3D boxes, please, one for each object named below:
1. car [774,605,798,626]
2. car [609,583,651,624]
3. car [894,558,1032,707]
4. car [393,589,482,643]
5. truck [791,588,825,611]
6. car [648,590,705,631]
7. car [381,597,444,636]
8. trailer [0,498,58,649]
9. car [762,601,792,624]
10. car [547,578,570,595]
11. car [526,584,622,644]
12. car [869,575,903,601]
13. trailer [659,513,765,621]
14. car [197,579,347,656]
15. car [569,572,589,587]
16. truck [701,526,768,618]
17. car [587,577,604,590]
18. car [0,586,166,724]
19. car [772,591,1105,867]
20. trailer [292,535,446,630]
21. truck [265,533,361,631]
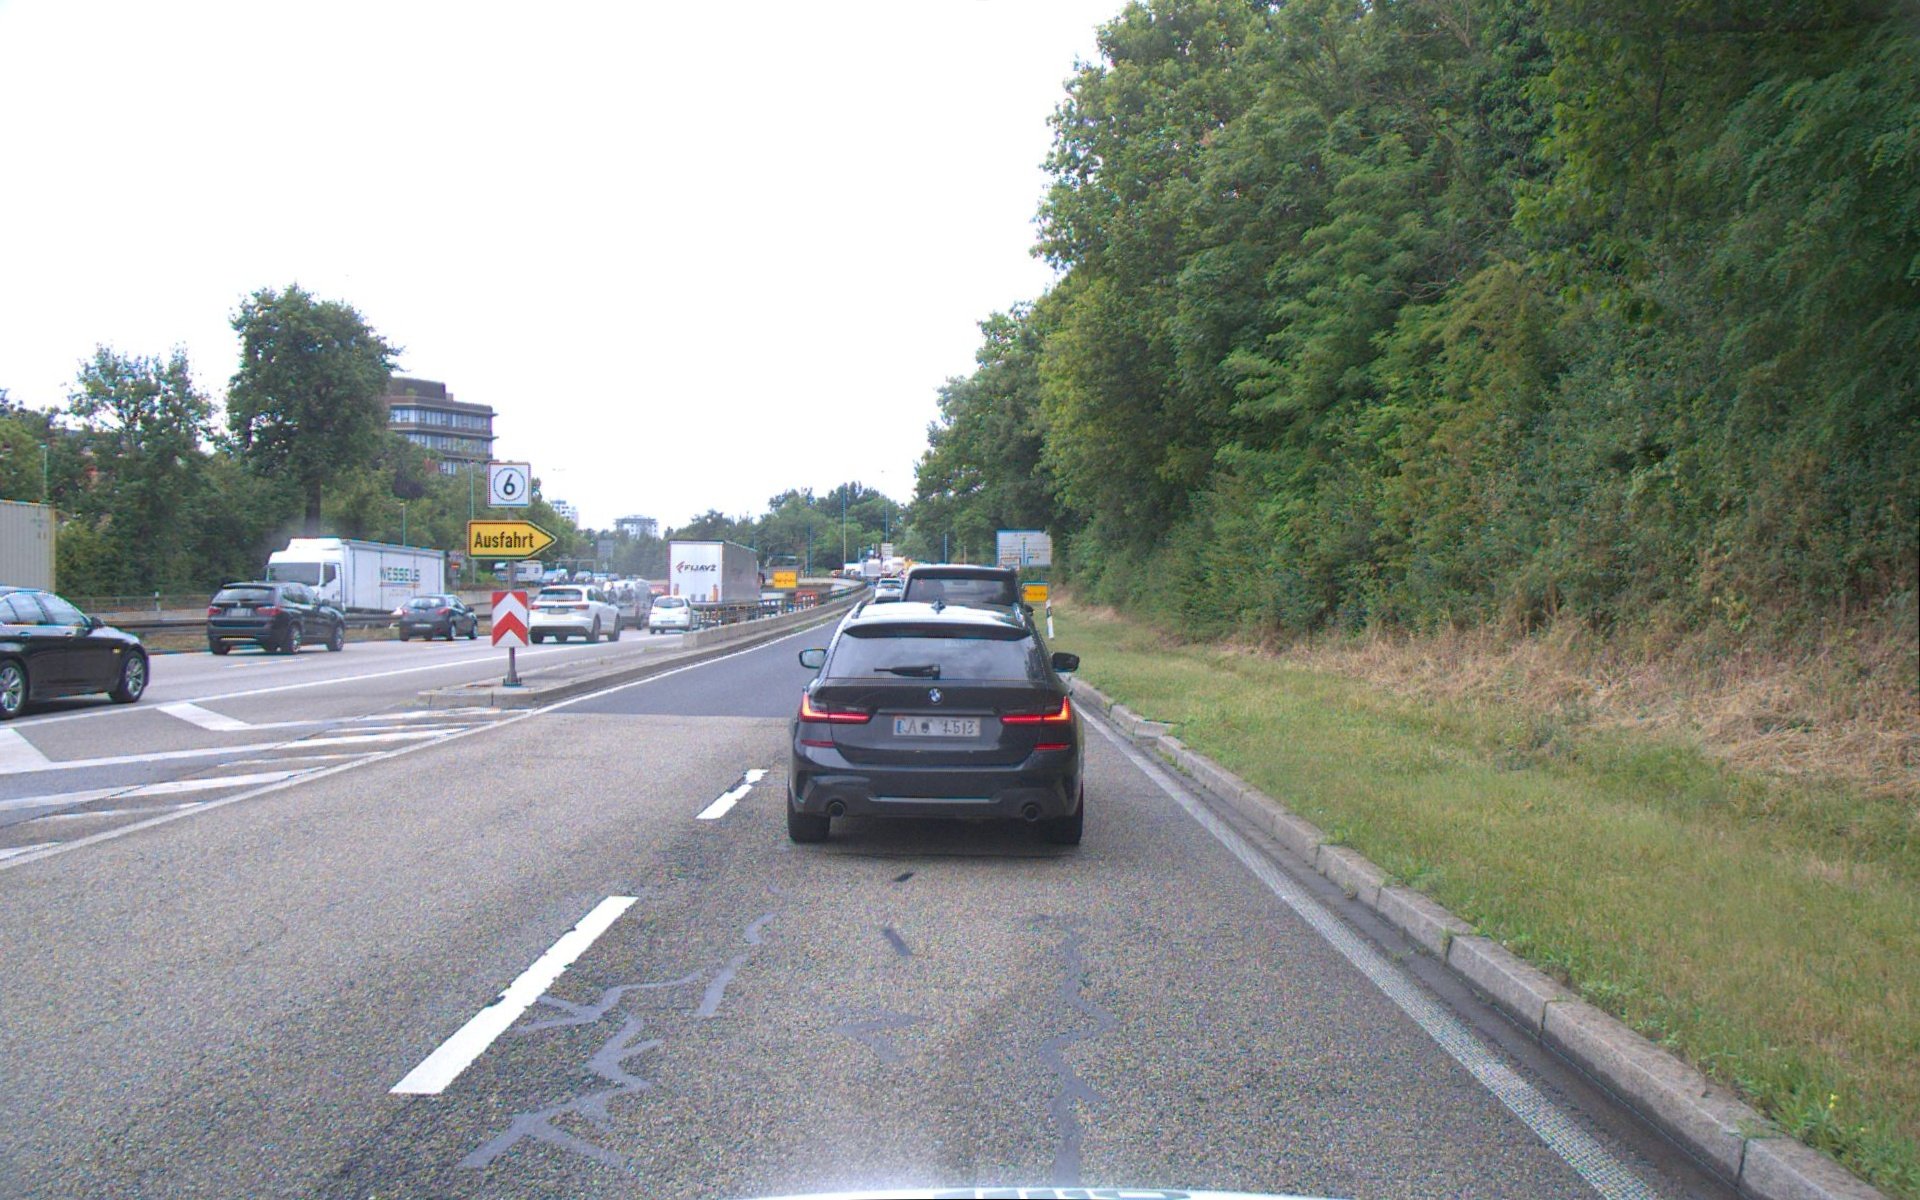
[{"bbox_3d":[-12.973,1.169,123.335,1.418,1.516,3.062,0,0,0],"label":"car"},{"bbox_3d":[-16.874,0.160,84.753,1.414,2.080,3.680,0,0,0],"label":"car"},{"bbox_3d":[0.033,0.412,23.287,1.759,1.904,4.000,0,0,0],"label":"car"},{"bbox_3d":[-16.826,0.482,53.447,1.653,1.636,4.007,1,0,-2],"label":"car"},{"bbox_3d":[-16.940,-0.106,184.948,3.207,2.553,7.659,0,0,-1],"label":"truck"},{"bbox_3d":[-11.273,0.397,65.933,1.733,1.577,3.491,0,0,-2],"label":"car"},{"bbox_3d":[-23.378,0.695,70.695,1.565,1.612,3.563,0,0,-1],"label":"car"},{"bbox_3d":[-27.270,-0.702,41.381,2.348,4.099,13.076,0,0,0],"label":"trailer"},{"bbox_3d":[-12.512,0.822,113.228,1.667,1.555,3.469,0,0,-1],"label":"car"},{"bbox_3d":[-38.312,-1.325,157.807,1.408,1.601,3.243,0,0,-1],"label":"car"},{"bbox_3d":[-11.582,0.397,49.917,1.906,1.721,4.506,0,0,-1],"label":"car"},{"bbox_3d":[-4.646,-0.764,103.976,1.891,1.624,3.877,0,0,1],"label":"car"},{"bbox_3d":[-11.984,-1.485,81.437,3.069,4.807,14.556,1,0,-1],"label":"trailer"},{"bbox_3d":[-16.163,0.385,39.082,1.852,1.711,4.305,0,0,-2],"label":"car"},{"bbox_3d":[-40.754,-2.197,176.906,1.408,1.614,3.243,0,0,-1],"label":"car"},{"bbox_3d":[-12.105,-1.494,89.124,3.021,4.780,4.231,1,0,-1],"label":"truck"},{"bbox_3d":[-42.982,-1.970,195.230,1.409,1.471,3.242,0,0,-3],"label":"car"},{"bbox_3d":[-11.272,0.586,19.361,1.677,1.482,4.666,1,0,0],"label":"car"},{"bbox_3d":[-0.180,0.693,11.002,1.809,1.492,3.998,0,0,-2],"label":"car"},{"bbox_3d":[-27.501,-0.784,77.895,2.541,4.052,13.780,0,0,-1],"label":"trailer"},{"bbox_3d":[-27.391,-0.759,70.192,2.543,4.060,3.999,0,0,-1],"label":"truck"}]
